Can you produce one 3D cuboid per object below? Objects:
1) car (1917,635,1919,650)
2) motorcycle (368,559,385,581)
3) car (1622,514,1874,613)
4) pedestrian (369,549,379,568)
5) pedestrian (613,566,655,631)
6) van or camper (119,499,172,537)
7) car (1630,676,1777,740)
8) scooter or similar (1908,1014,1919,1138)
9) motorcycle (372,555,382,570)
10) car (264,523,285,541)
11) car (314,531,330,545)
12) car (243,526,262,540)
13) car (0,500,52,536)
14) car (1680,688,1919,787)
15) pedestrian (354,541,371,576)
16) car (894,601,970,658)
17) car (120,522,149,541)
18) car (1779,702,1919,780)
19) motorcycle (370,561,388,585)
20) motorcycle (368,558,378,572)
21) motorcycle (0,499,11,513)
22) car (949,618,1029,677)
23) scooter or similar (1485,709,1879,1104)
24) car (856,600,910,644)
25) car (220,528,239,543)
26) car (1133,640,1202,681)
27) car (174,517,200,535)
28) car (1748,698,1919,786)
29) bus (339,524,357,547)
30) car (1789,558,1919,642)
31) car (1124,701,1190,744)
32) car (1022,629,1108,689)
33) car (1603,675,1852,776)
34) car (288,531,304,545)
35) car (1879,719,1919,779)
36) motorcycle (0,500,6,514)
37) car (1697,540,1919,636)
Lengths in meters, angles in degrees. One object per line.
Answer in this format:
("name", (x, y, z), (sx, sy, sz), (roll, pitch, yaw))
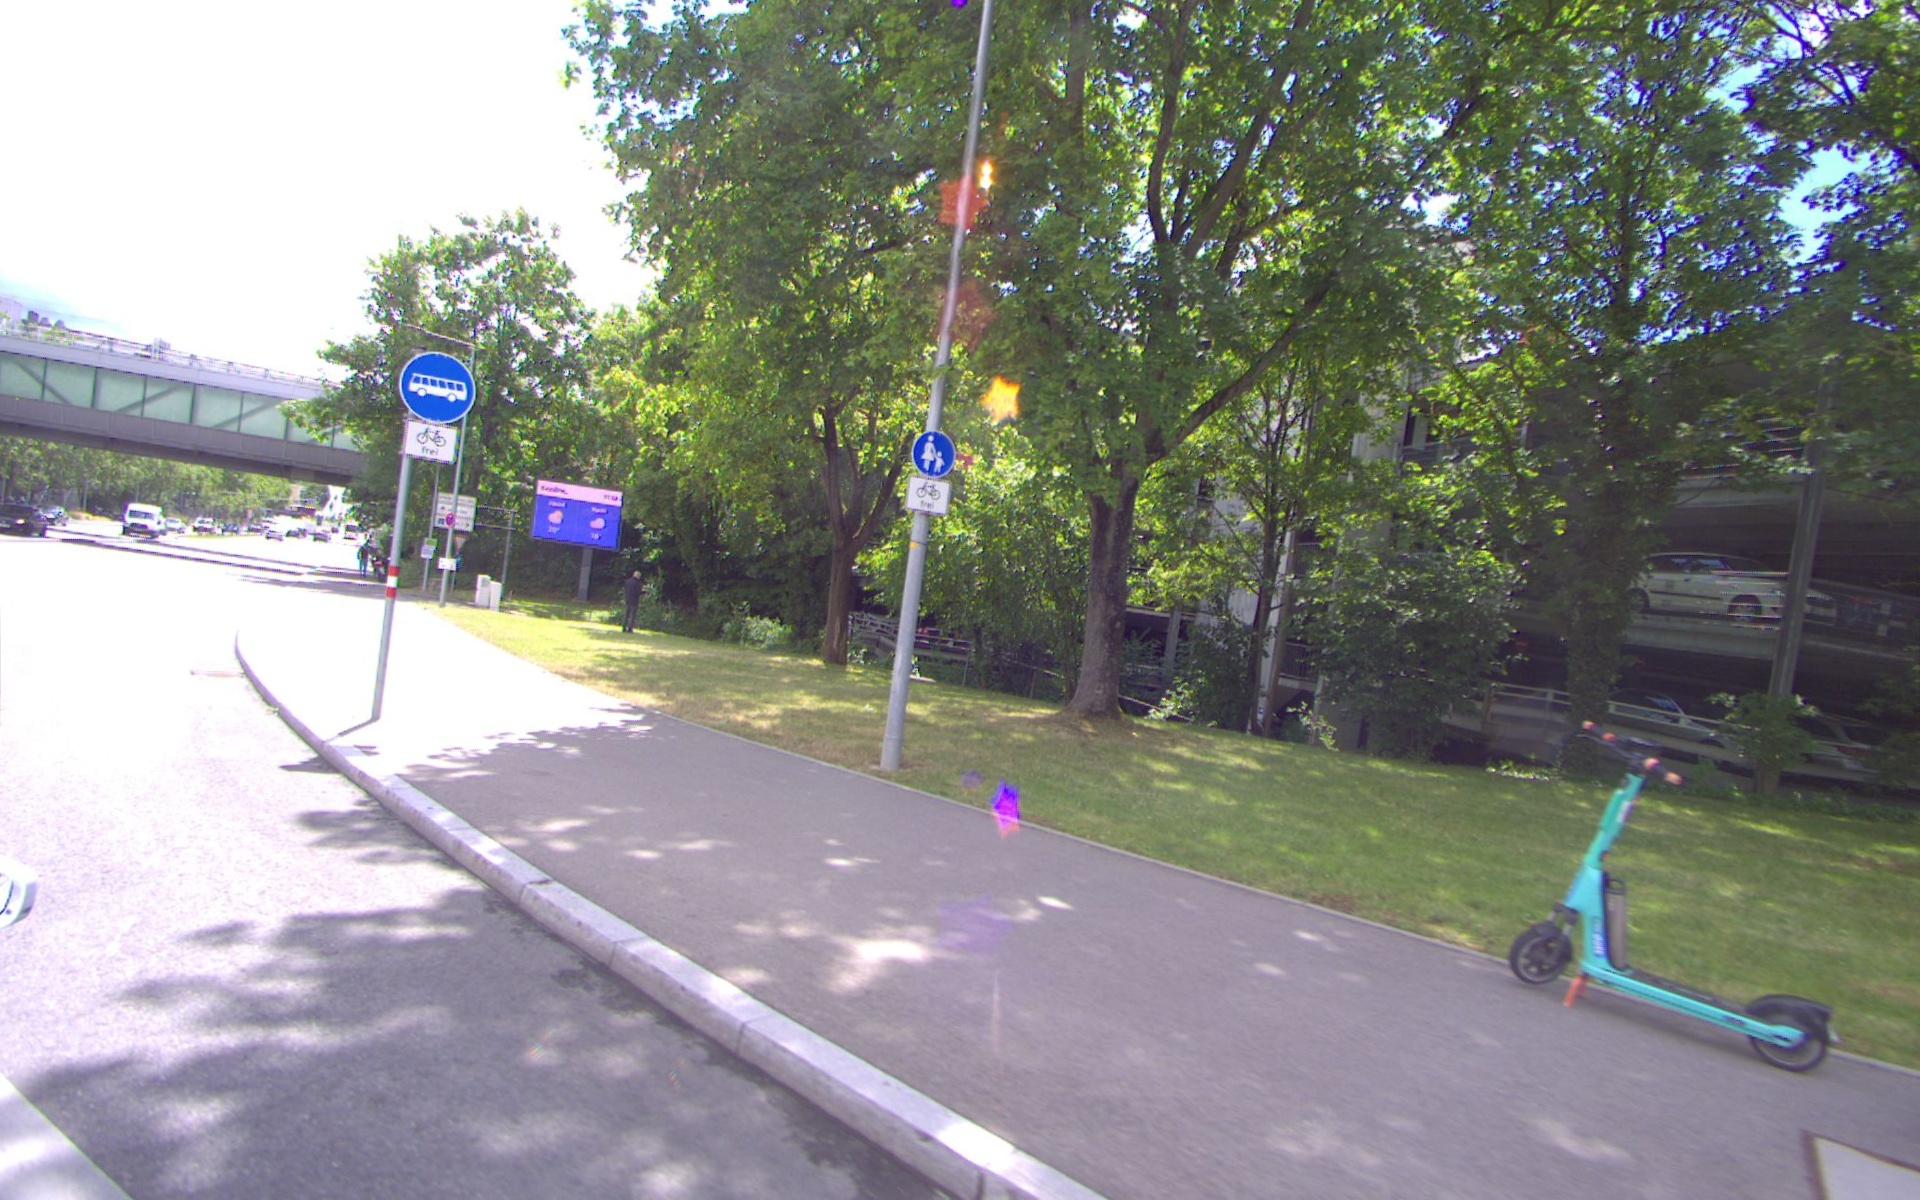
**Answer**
("car", (24.739, 0.657, 22.982), (1.700, 1.559, 3.694), (11, 0, -11))
("motorcycle", (-31.738, -1.631, 54.720), (0.544, 1.123, 2.000), (7, -1, -34))
("car", (15.957, -0.731, 20.638), (1.700, 1.559, 3.694), (11, 0, -11))
("pedestrian", (-54.651, -3.839, 93.866), (0.616, 1.640, 0.739), (7, 4, -33))
("pedestrian", (-9.367, -0.046, 28.878), (0.761, 1.740, 0.589), (11, 4, 31))
("van or camper", (-62.703, -6.276, 77.549), (1.993, 2.429, 6.350), (7, -1, -30))
("car", (25.068, 3.599, 34.100), (1.569, 1.388, 3.771), (9, 2, -12))
("scooter or similar", (3.794, 1.254, 3.047), (1.171, 1.280, 0.532), (6, 1, 36))
("motorcycle", (-47.151, -3.053, 81.302), (0.559, 1.042, 2.607), (6, 0, -32))
("car", (-90.665, -8.983, 133.139), (1.916, 1.795, 3.964), (8, 3, -31))
("car", (-103.140, -9.978, 162.675), (1.980, 1.882, 3.967), (7, -1, -32))
("car", (-115.228, -10.923, 163.914), (1.979, 2.038, 3.969), (7, -1, -30))
("car", (-45.254, -3.952, 48.283), (1.626, 1.488, 3.746), (8, -1, -31))
("car", (17.871, 2.860, 21.461), (1.748, 1.308, 3.788), (9, 0, -12))
("pedestrian", (-33.080, -2.298, 55.705), (0.619, 1.880, 0.865), (7, -1, -33))
("car", (-1.029, 0.962, 34.248), (1.630, 1.613, 4.384), (8, -2, -12))
("car", (-81.334, -6.775, 99.139), (1.691, 1.569, 3.889), (8, -2, -34))
("car", (21.706, 3.393, 23.373), (1.748, 1.308, 3.788), (9, 0, -12))
("motorcycle", (-28.920, -1.354, 50.069), (0.544, 1.123, 2.000), (7, -1, -34))
("motorcycle", (-49.532, -2.927, 84.900), (0.559, 1.042, 2.607), (6, 0, -32))
("motorcycle", (-78.213, -7.729, 80.926), (2.529, 1.062, 0.670), (8, -1, -26))
("car", (0.924, 1.567, 34.464), (1.748, 1.490, 3.788), (9, 0, -12))
("scooter or similar", (2.973, 1.185, 4.245), (1.171, 1.280, 0.532), (6, 1, 36))
("car", (-3.468, 0.953, 44.750), (1.748, 1.490, 4.129), (9, 0, -12))
("car", (-101.890, -9.015, 140.346), (1.689, 1.718, 3.894), (8, -2, -30))
("car", (9.755, 2.819, 47.508), (1.729, 1.558, 3.617), (8, -2, -12))
("car", (-88.679, -8.422, 115.438), (1.689, 1.718, 3.893), (8, -2, -31))
("car", (19.859, 3.154, 21.987), (1.748, 1.308, 3.788), (9, 0, -12))
("bus", (-129.796, -13.739, 213.383), (2.777, 3.802, 9.380), (7, 3, -32))
("car", (20.705, 0.020, 21.904), (1.700, 1.559, 3.694), (11, 0, -11))
("car", (9.167, 5.697, 47.046), (1.549, 1.430, 3.617), (8, -2, -12))
("car", (3.572, 1.996, 34.866), (1.748, 1.490, 3.788), (9, 0, -12))
("car", (15.759, 2.525, 20.931), (1.748, 1.308, 3.788), (9, 0, -12))
("car", (-106.208, -9.955, 160.941), (1.845, 1.728, 3.961), (7, 4, -32))
("car", (23.990, 3.784, 23.142), (1.748, 1.308, 3.788), (9, 0, -12))
("motorcycle", (-77.484, -7.563, 79.736), (2.529, 1.062, 0.670), (8, -1, -26))
("car", (17.953, -0.272, 21.083), (1.700, 1.559, 3.694), (11, 0, -11))
